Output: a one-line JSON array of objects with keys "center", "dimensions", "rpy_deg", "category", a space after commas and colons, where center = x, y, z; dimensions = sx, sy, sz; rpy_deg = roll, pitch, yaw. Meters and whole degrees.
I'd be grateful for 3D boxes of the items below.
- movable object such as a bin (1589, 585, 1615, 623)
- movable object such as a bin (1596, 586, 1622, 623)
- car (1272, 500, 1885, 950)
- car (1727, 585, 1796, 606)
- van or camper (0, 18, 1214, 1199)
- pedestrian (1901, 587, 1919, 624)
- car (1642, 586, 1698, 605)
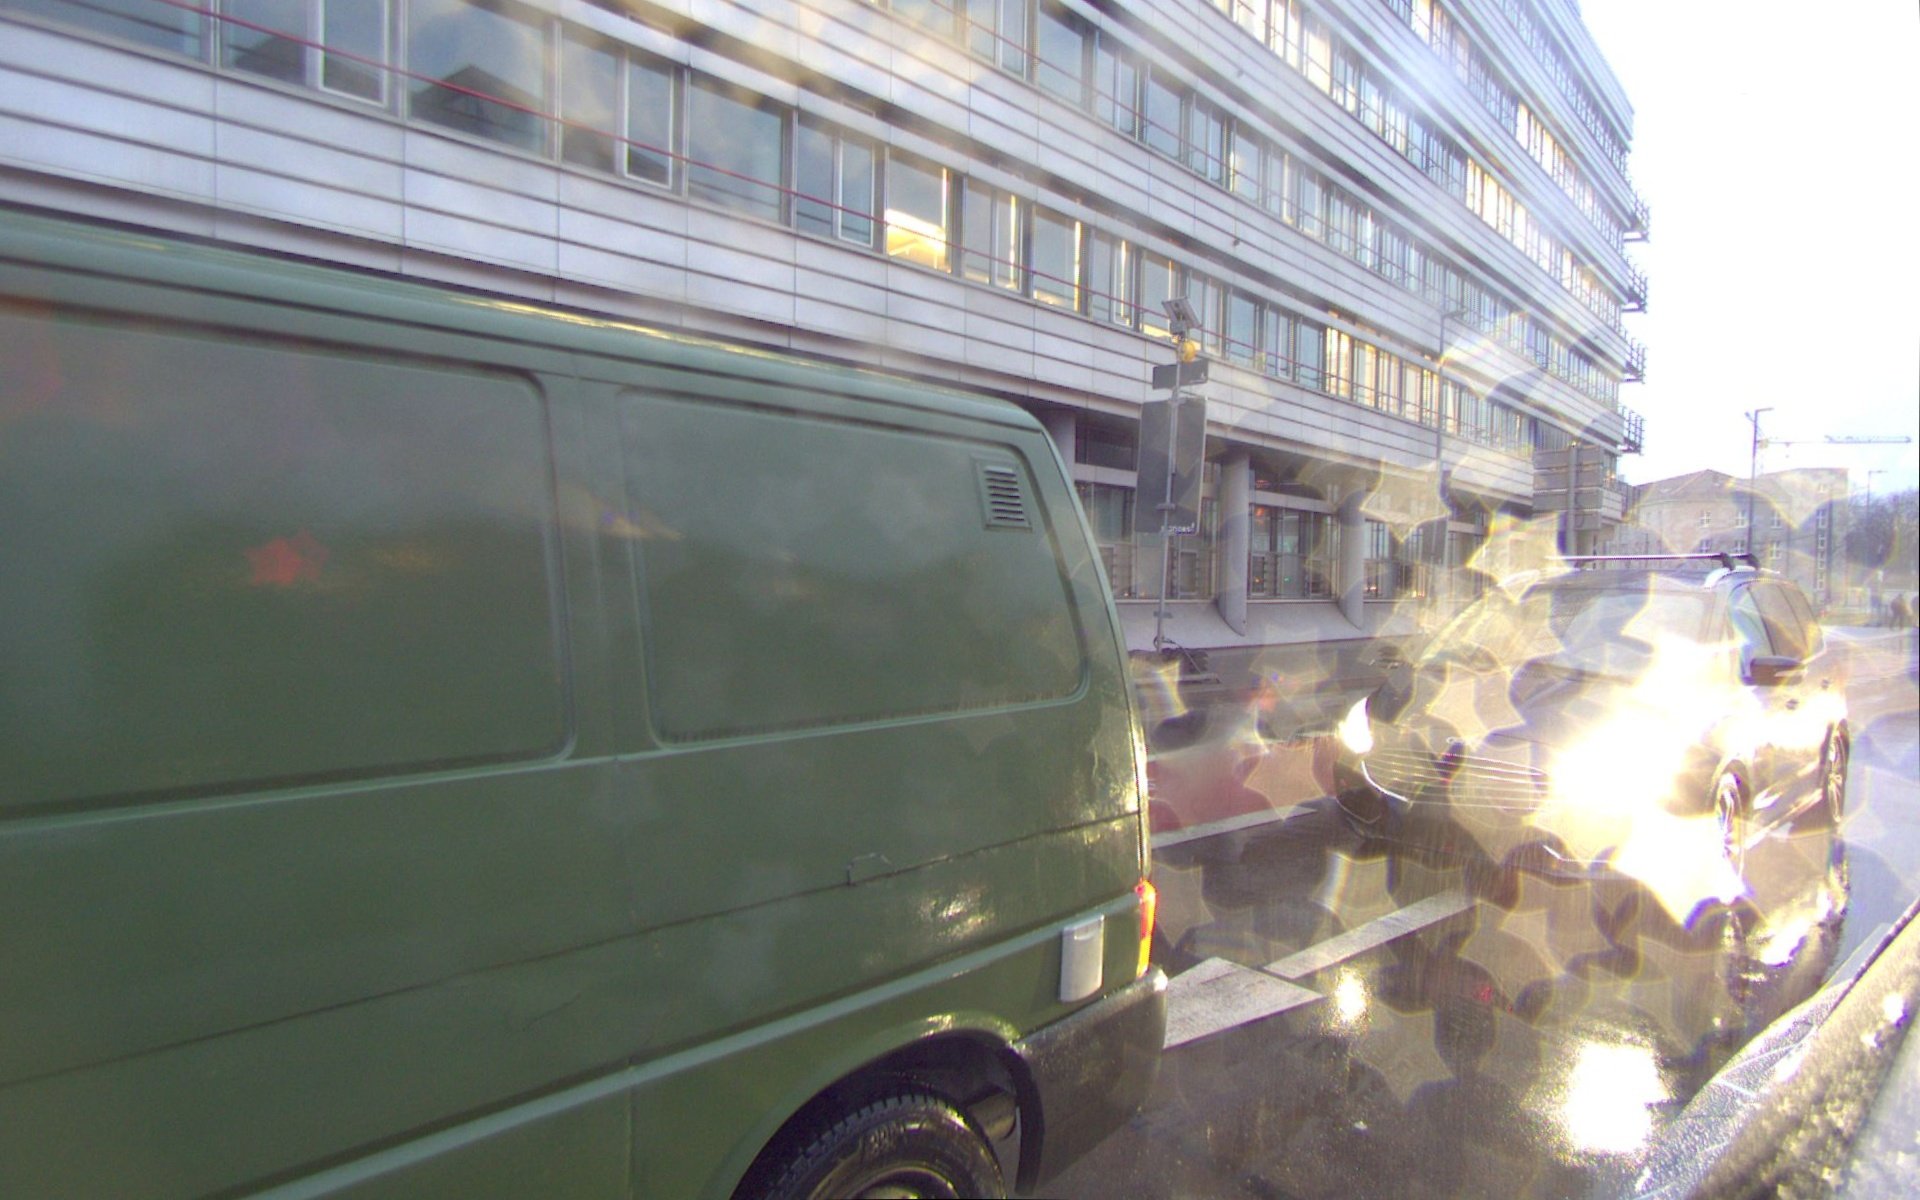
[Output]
[{"center": [24.826, 0.155, 39.134], "dimensions": [0.826, 1.446, 0.665], "rpy_deg": [0, 1, -44], "category": "movable object such as a bin"}, {"center": [25.485, 0.170, 39.718], "dimensions": [0.826, 1.446, 0.665], "rpy_deg": [0, 1, -44], "category": "movable object such as a bin"}, {"center": [4.085, 0.499, 6.324], "dimensions": [4.587, 1.834, 1.887], "rpy_deg": [0, 0, -39], "category": "car"}, {"center": [71.518, -0.388, 90.386], "dimensions": [1.958, 1.782, 4.386], "rpy_deg": [0, 1, -24], "category": "car"}, {"center": [-1.692, 0.454, 1.297], "dimensions": [4.341, 1.931, 1.760], "rpy_deg": [0, 0, -41], "category": "van or camper"}, {"center": [46.339, 0.279, 49.199], "dimensions": [0.953, 1.722, 0.746], "rpy_deg": [0, 4, -44], "category": "pedestrian"}, {"center": [68.606, -0.450, 97.831], "dimensions": [1.958, 1.693, 4.013], "rpy_deg": [0, 1, -24], "category": "car"}]
